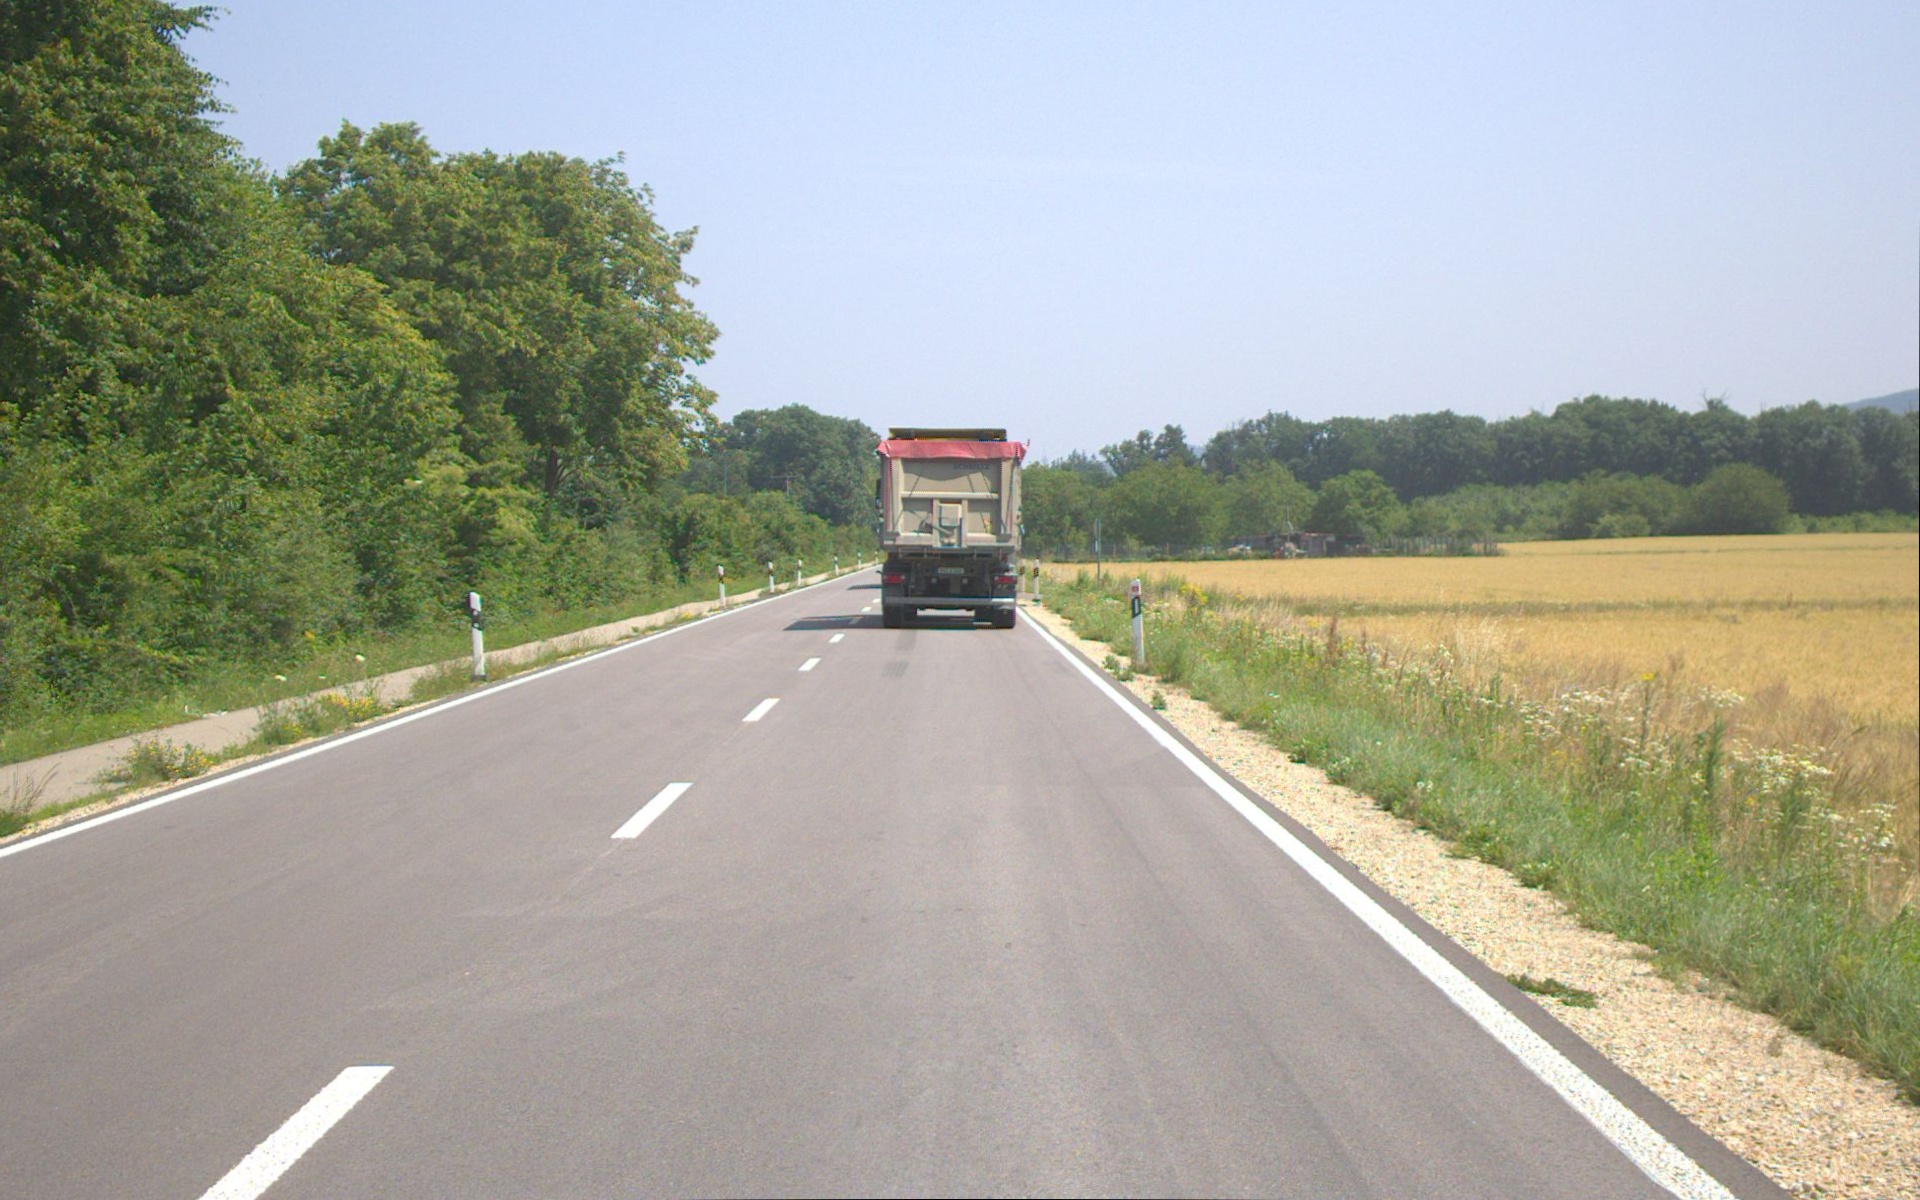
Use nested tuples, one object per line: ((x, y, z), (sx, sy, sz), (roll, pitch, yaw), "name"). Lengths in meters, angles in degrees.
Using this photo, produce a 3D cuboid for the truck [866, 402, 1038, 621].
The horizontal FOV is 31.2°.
((-0.157, -1.644, 67.467), (3.009, 3.861, 12.209), (1, 1, 0), "truck")
